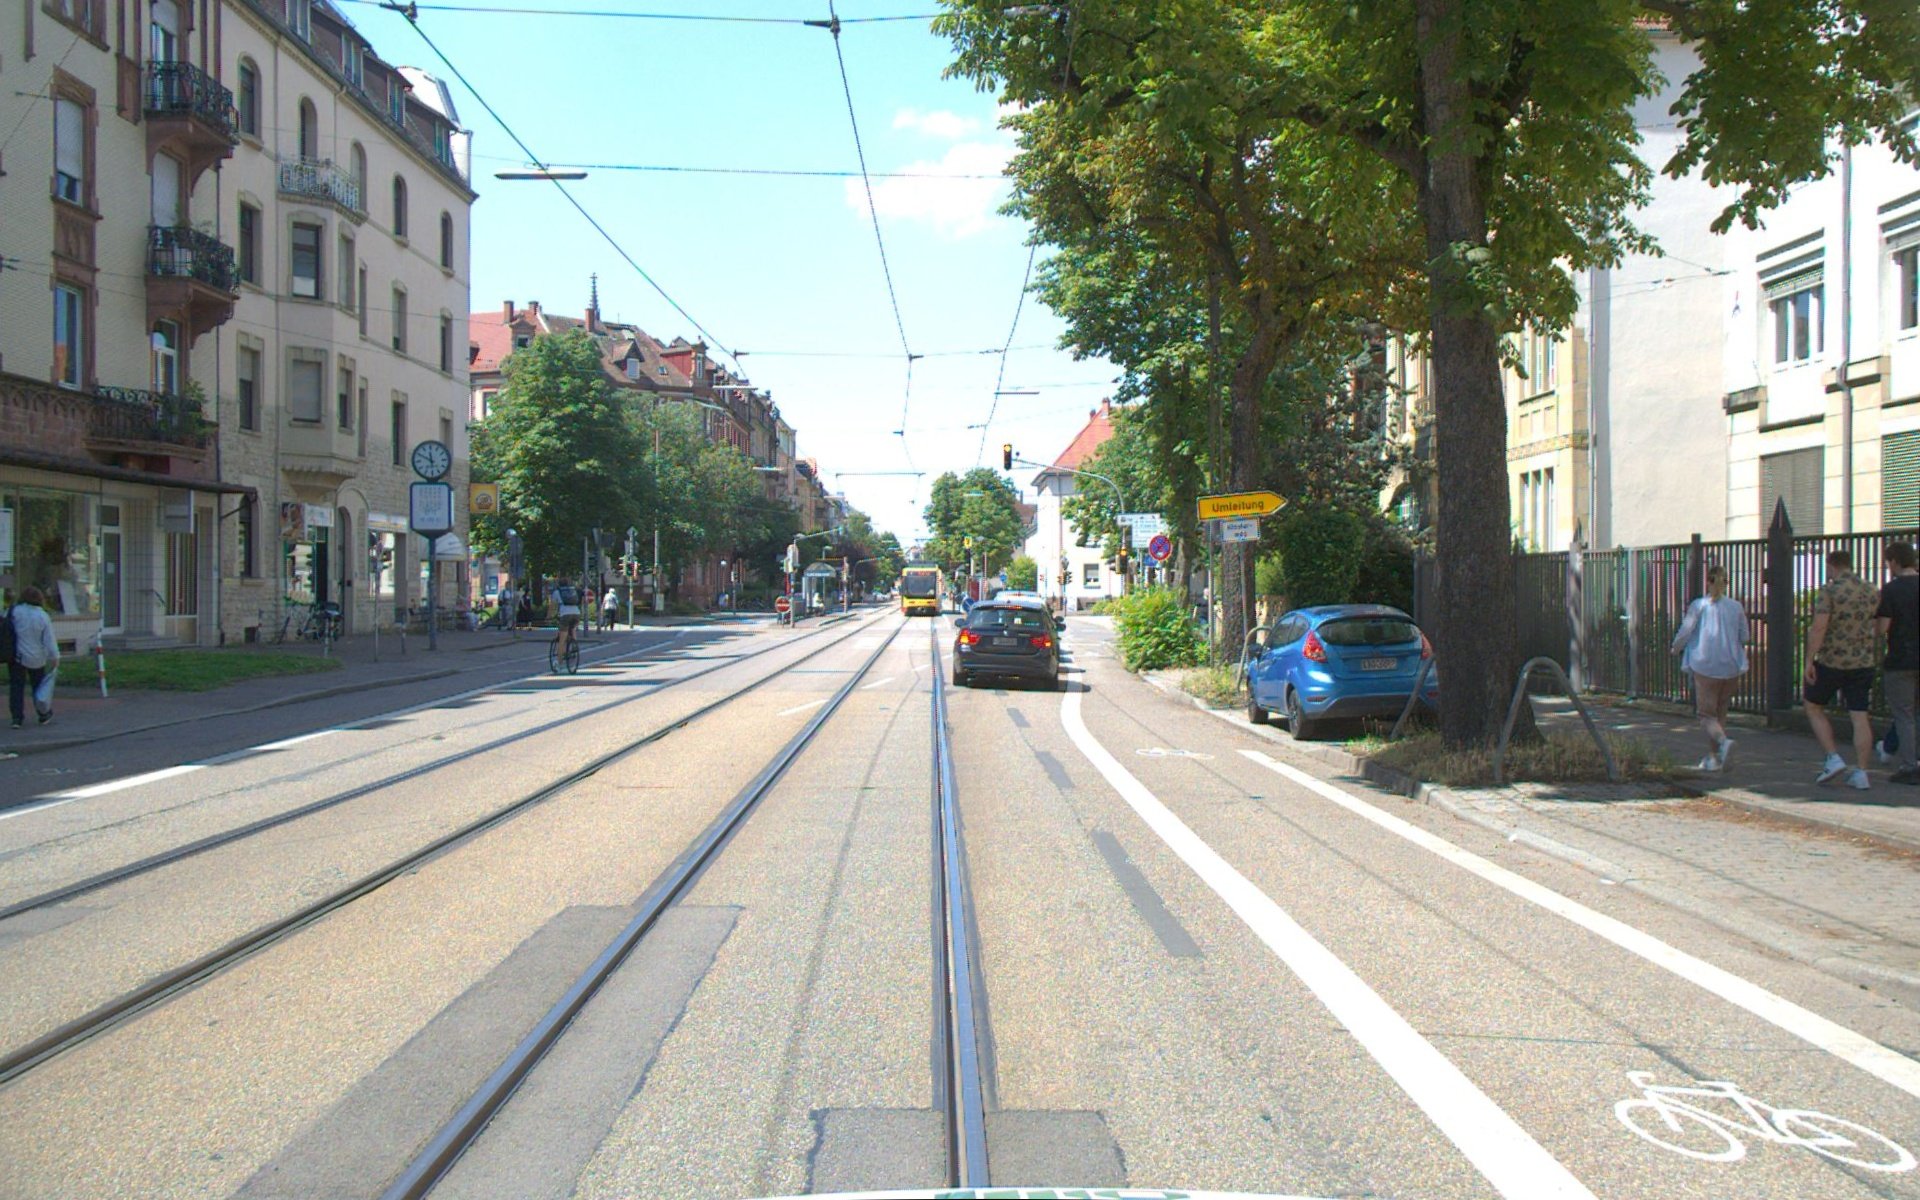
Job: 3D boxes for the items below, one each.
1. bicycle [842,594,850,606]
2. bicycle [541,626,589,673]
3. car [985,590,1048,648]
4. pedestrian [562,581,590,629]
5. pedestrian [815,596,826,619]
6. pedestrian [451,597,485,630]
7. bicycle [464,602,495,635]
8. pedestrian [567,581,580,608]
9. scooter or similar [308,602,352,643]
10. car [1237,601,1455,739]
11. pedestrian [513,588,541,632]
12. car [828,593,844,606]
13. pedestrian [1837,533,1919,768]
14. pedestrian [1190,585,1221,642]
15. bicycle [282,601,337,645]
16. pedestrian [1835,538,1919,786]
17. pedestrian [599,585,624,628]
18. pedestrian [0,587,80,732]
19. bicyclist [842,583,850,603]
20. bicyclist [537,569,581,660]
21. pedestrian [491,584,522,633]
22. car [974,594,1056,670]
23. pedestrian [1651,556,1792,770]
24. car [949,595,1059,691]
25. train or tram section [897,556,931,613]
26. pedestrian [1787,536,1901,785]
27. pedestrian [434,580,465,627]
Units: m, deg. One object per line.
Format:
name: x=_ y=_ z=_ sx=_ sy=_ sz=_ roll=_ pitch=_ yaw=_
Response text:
bicycle: x=-10.565 y=0.002 z=153.500 sx=0.714 sy=1.121 sz=1.715 roll=0 pitch=0 yaw=-1
bicycle: x=-7.581 y=0.932 z=31.694 sx=0.741 sy=0.832 sz=1.810 roll=0 pitch=0 yaw=-19
car: x=1.628 y=0.507 z=47.113 sx=1.656 sy=1.540 sz=3.822 roll=2 pitch=0 yaw=3
pedestrian: x=-15.414 y=0.206 z=66.418 sx=0.882 sy=1.924 sz=1.164 roll=0 pitch=0 yaw=-2
pedestrian: x=-7.790 y=0.409 z=92.191 sx=0.602 sy=1.264 sz=0.627 roll=0 pitch=0 yaw=-7
pedestrian: x=-16.855 y=0.463 z=56.681 sx=0.897 sy=1.096 sz=0.883 roll=0 pitch=0 yaw=0
bicycle: x=-17.499 y=0.683 z=60.234 sx=0.539 sy=1.148 sz=1.660 roll=0 pitch=-2 yaw=-38
pedestrian: x=-26.508 y=-0.374 z=113.358 sx=0.731 sy=1.843 sz=0.634 roll=0 pitch=0 yaw=-32
scooter or similar: x=-16.693 y=0.586 z=43.812 sx=0.690 sy=1.062 sz=1.192 roll=2 pitch=-1 yaw=-41
car: x=4.506 y=0.758 z=19.829 sx=1.643 sy=1.469 sz=3.719 roll=0 pitch=0 yaw=-2
pedestrian: x=-16.545 y=0.362 z=63.210 sx=0.843 sy=1.664 sz=1.026 roll=0 pitch=0 yaw=-2
car: x=-16.274 y=-0.023 z=216.620 sx=1.754 sy=1.614 sz=3.991 roll=1 pitch=0 yaw=-9
pedestrian: x=7.737 y=0.395 z=13.482 sx=0.647 sy=1.843 sz=0.977 roll=0 pitch=0 yaw=-1
pedestrian: x=7.297 y=0.405 z=49.133 sx=0.839 sy=1.674 sz=0.837 roll=0 pitch=0 yaw=5
bicycle: x=-16.457 y=0.586 z=41.875 sx=0.362 sy=1.084 sz=1.464 roll=1 pitch=-1 yaw=22
pedestrian: x=7.278 y=0.440 z=12.483 sx=0.771 sy=1.792 sz=1.052 roll=0 pitch=0 yaw=-1
pedestrian: x=-14.130 y=0.256 z=67.048 sx=0.898 sy=1.753 sz=0.839 roll=0 pitch=0 yaw=-7
pedestrian: x=-10.433 y=0.641 z=18.520 sx=0.894 sy=1.569 sz=0.972 roll=0 pitch=0 yaw=-36
bicyclist: x=-10.553 y=-0.662 z=153.602 sx=0.708 sy=1.903 sz=0.825 roll=0 pitch=0 yaw=-3
bicyclist: x=-7.649 y=0.273 z=31.535 sx=0.744 sy=1.692 sz=0.827 roll=1 pitch=-1 yaw=-16
pedestrian: x=-16.539 y=0.296 z=60.329 sx=0.848 sy=1.763 sz=0.770 roll=1 pitch=0 yaw=45
car: x=1.147 y=0.636 z=35.118 sx=1.650 sy=1.510 sz=3.685 roll=0 pitch=0 yaw=1
pedestrian: x=6.195 y=0.496 z=13.507 sx=0.750 sy=1.680 sz=0.974 roll=0 pitch=0 yaw=4
car: x=0.783 y=0.664 z=28.308 sx=1.687 sy=1.433 sz=4.566 roll=2 pitch=0 yaw=2
train or tram section: x=-2.966 y=-0.986 z=107.748 sx=2.146 sy=3.543 sz=8.843 roll=0 pitch=0 yaw=-1
pedestrian: x=6.710 y=0.435 z=12.591 sx=0.690 sy=1.807 sz=0.947 roll=0 pitch=0 yaw=24
pedestrian: x=-18.091 y=0.123 z=58.624 sx=0.898 sy=1.622 sz=0.808 roll=0 pitch=0 yaw=-4
